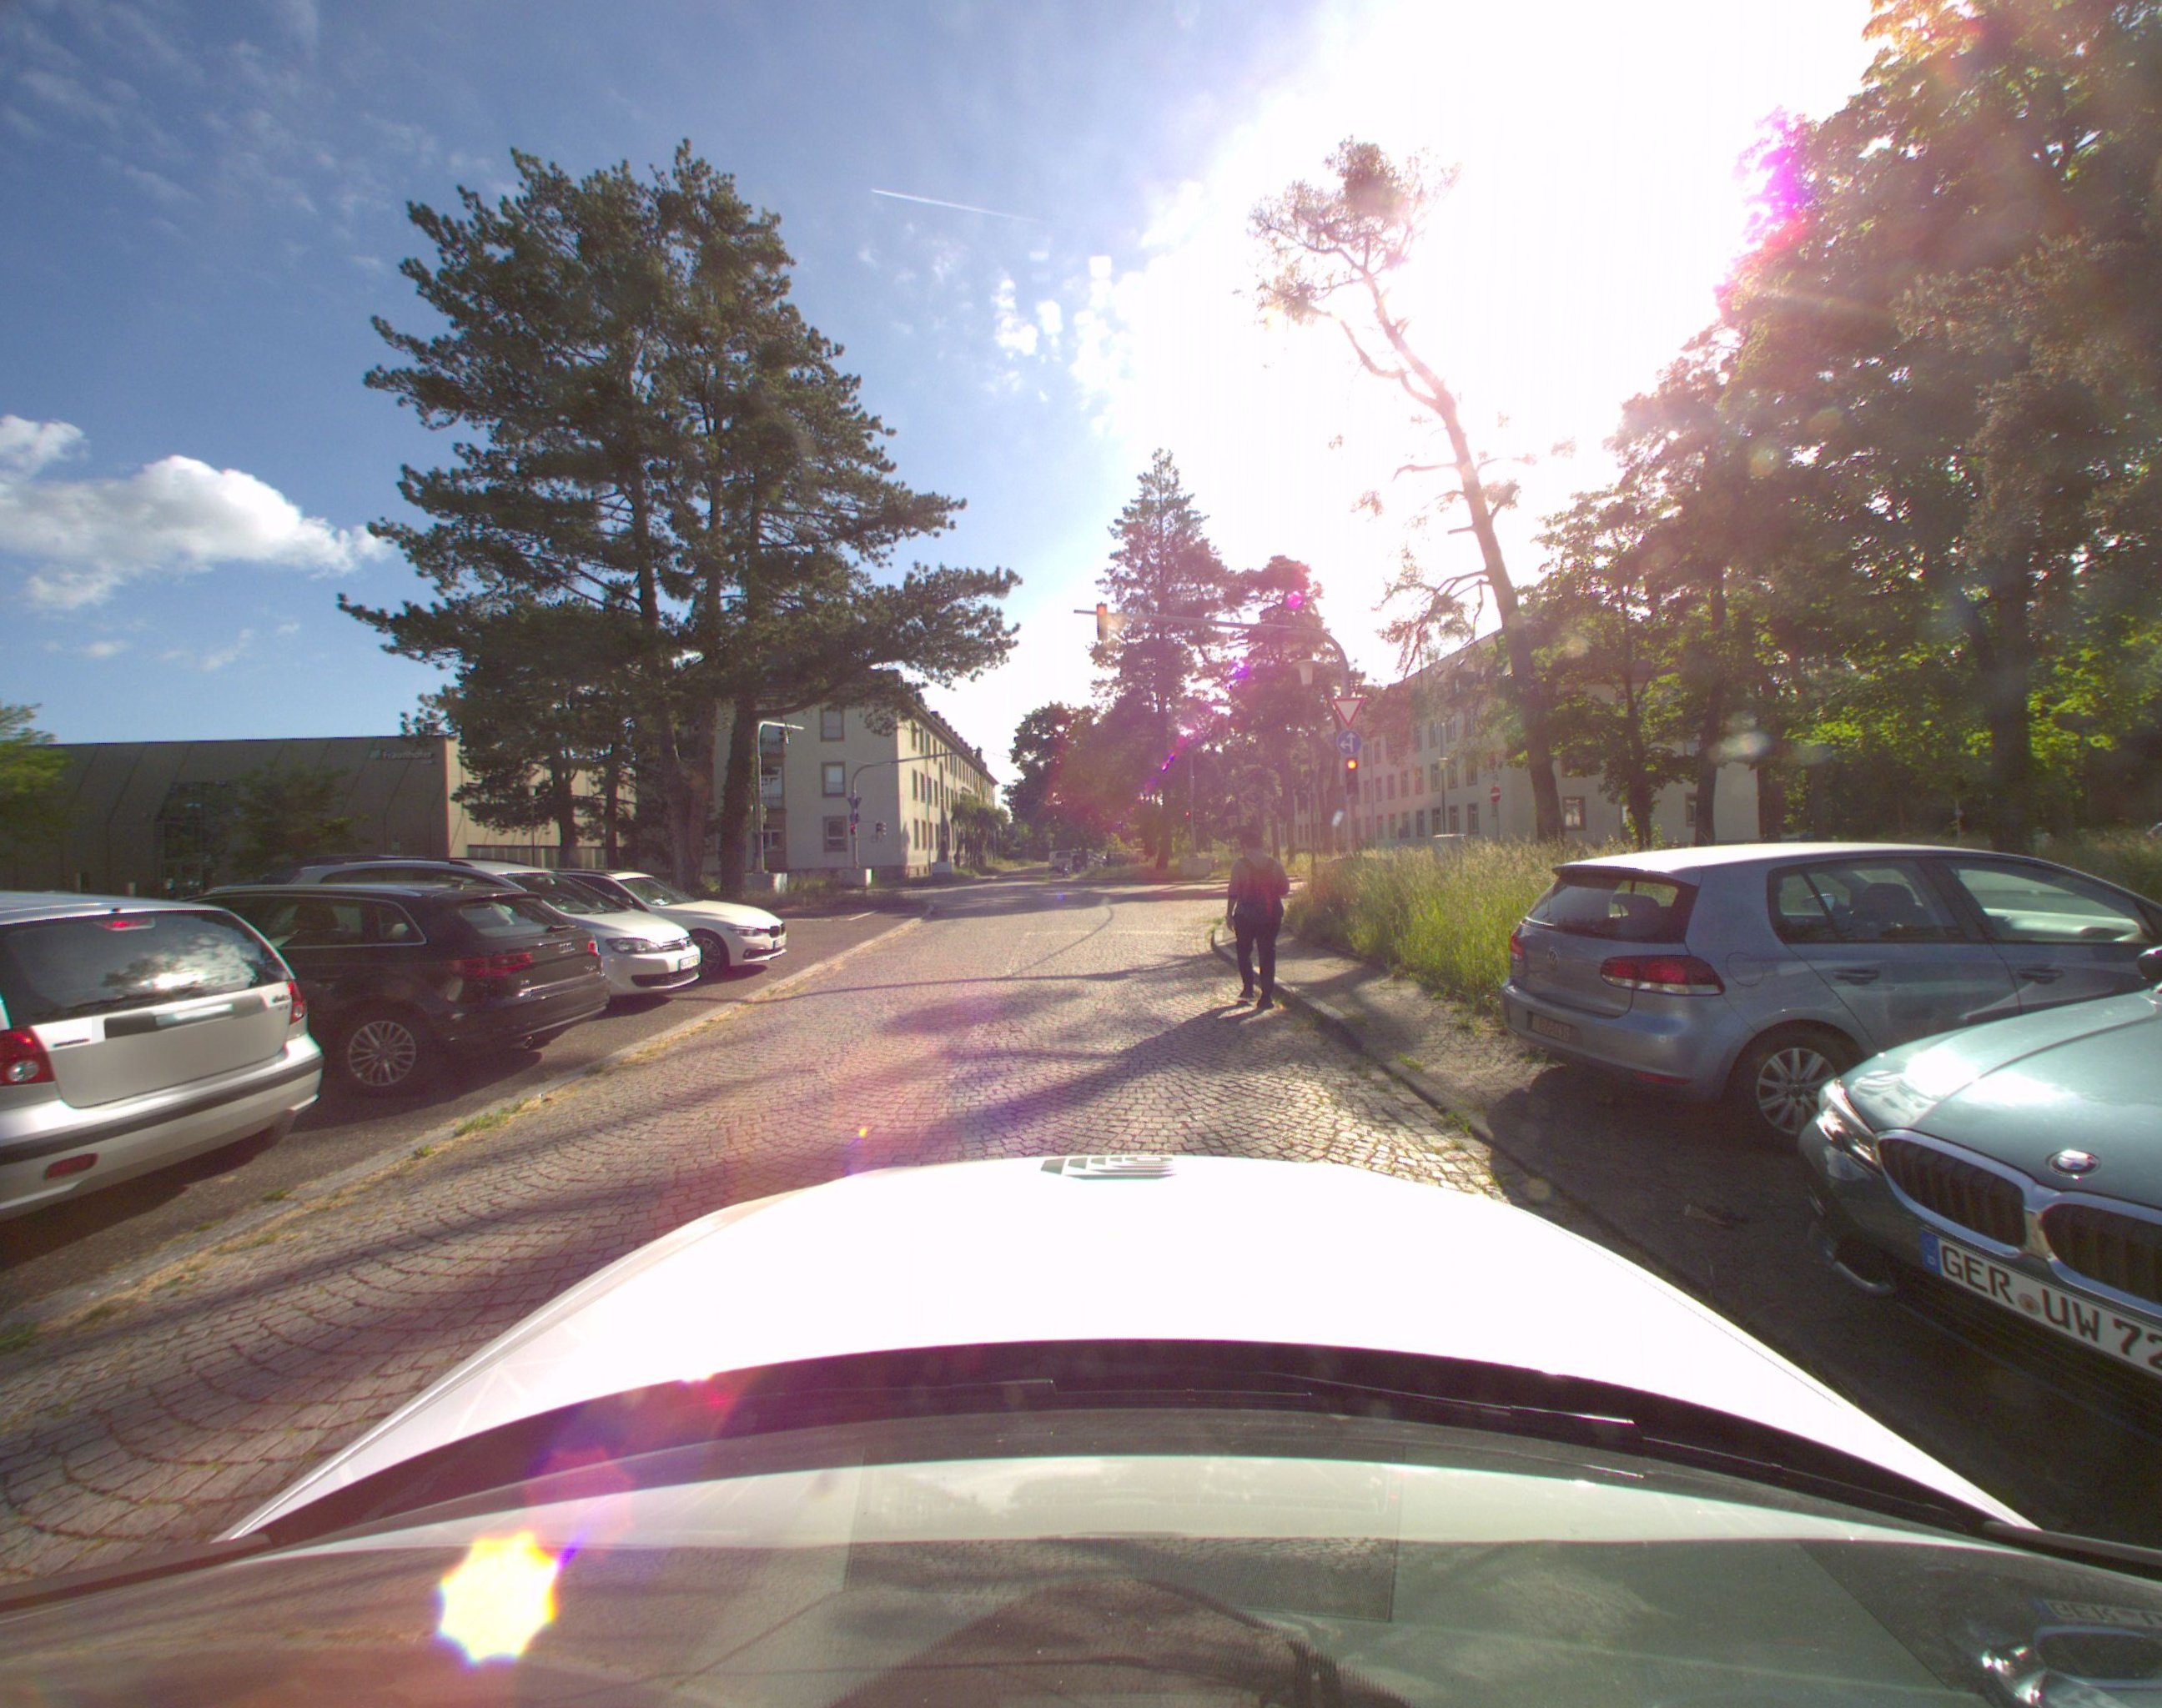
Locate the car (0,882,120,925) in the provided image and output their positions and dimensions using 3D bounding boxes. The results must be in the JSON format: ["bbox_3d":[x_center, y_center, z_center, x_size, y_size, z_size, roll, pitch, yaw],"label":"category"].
[{"bbox_3d":[-49.153,2.347,38.785,1.858,1.778,4.004,-2,0,2],"label":"car"}]

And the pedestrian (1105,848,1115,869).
[{"bbox_3d":[2.482,0.421,69.977,0.759,1.783,0.682,-2,0,-9],"label":"pedestrian"}]

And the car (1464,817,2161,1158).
[{"bbox_3d":[4.487,0.616,4.762,3.663,1.443,1.664,-3,0,-1],"label":"car"}]

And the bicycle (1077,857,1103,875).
[{"bbox_3d":[0.606,0.782,54.828,1.724,1.164,0.560,-2,0,-5],"label":"bicycle"}]

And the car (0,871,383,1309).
[{"bbox_3d":[-5.774,0.862,3.661,3.678,1.527,1.697,1,0,-4],"label":"car"}]

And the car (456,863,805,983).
[{"bbox_3d":[-6.251,0.911,11.598,3.970,1.496,1.774,0,0,3],"label":"car"}]

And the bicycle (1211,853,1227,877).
[{"bbox_3d":[7.074,0.548,41.869,0.717,1.115,2.590,-2,0,9],"label":"bicycle"}]

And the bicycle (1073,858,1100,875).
[{"bbox_3d":[0.381,0.826,54.141,1.724,1.112,0.483,-2,0,-5],"label":"bicycle"}]

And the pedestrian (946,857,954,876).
[{"bbox_3d":[-10.780,1.056,67.226,0.606,1.560,0.544,-1,0,-8],"label":"pedestrian"}]

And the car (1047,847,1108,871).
[{"bbox_3d":[-0.318,0.435,71.458,5.068,1.918,1.993,-2,0,-11],"label":"car"}]

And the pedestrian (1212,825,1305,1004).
[{"bbox_3d":[1.788,0.585,8.306,0.751,1.725,0.828,0,0,-1],"label":"pedestrian"}]

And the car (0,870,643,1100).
[{"bbox_3d":[-5.863,0.908,6.320,3.927,1.445,1.689,1,0,-3],"label":"car"}]

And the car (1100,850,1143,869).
[{"bbox_3d":[3.761,0.500,75.503,3.742,1.580,1.736,-2,0,-9],"label":"car"}]

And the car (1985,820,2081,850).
[{"bbox_3d":[56.523,-1.110,48.403,3.622,1.671,1.767,-2,0,1],"label":"car"}]

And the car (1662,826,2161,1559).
[{"bbox_3d":[4.516,0.603,2.206,4.610,1.455,1.868,-4,0,-4],"label":"car"}]

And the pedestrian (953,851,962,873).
[{"bbox_3d":[-10.080,0.658,66.307,0.607,1.752,0.627,-1,0,-14],"label":"pedestrian"}]

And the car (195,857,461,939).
[{"bbox_3d":[-17.091,0.951,18.672,4.131,1.608,2.009,-2,0,0],"label":"car"}]

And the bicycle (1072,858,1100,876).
[{"bbox_3d":[0.321,0.828,53.595,1.831,1.112,0.494,-2,0,-5],"label":"bicycle"}]

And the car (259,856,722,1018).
[{"bbox_3d":[-6.319,0.851,9.078,3.870,1.615,1.659,0,0,-3],"label":"car"}]

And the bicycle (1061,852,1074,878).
[{"bbox_3d":[-0.849,0.667,50.362,0.751,1.580,2.535,-2,0,-1],"label":"bicycle"}]

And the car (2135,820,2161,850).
[{"bbox_3d":[55.886,-1.008,40.859,3.622,1.497,1.767,-2,0,1],"label":"car"}]
